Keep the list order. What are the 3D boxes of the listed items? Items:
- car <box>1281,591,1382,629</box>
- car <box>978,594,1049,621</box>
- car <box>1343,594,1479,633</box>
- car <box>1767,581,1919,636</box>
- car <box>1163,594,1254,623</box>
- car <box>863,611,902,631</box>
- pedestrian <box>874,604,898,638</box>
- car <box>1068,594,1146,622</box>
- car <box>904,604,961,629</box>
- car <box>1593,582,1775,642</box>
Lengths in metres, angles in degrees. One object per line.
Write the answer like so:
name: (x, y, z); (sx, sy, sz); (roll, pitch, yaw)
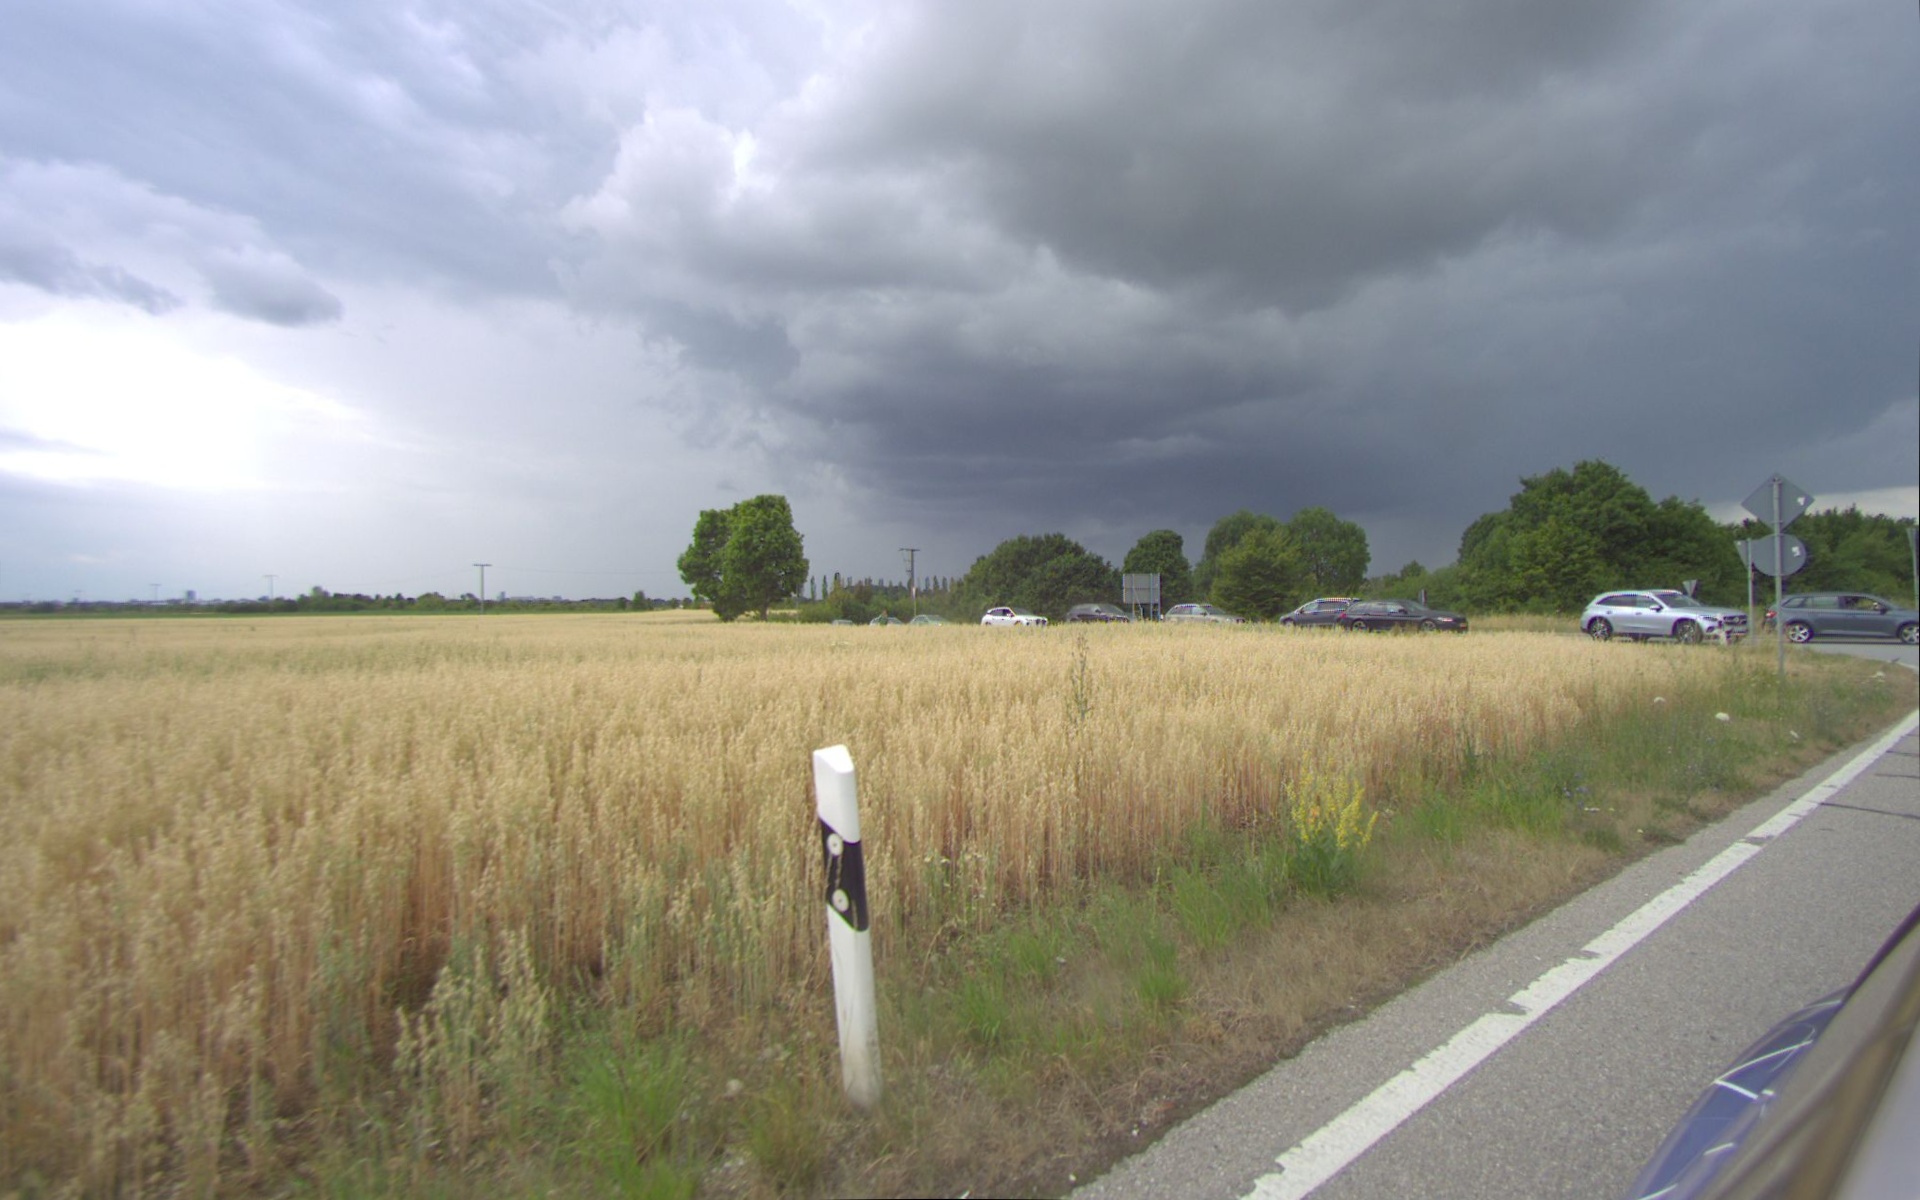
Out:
car: (17.852, 0.436, 48.813); (1.723, 1.679, 4.284); (0, 1, -40)
car: (3.145, 0.439, 60.343); (1.690, 1.513, 4.637); (-3, 1, -35)
car: (17.737, 0.513, 40.015); (1.689, 1.370, 4.696); (-3, 1, -33)
car: (25.914, 0.240, 29.105); (4.103, 1.465, 1.692); (-1, 1, 44)
car: (11.968, 0.402, 48.910); (1.690, 1.370, 4.213); (0, 0, -35)
car: (-5.683, 1.527, 73.868); (1.542, 1.363, 3.503); (0, 1, -28)
pedestrian: (-3.640, 1.022, 49.730); (0.939, 1.632, 0.763); (-1, -1, 37)
car: (7.834, 0.404, 54.317); (1.690, 1.370, 4.213); (-3, 1, -35)
car: (-1.892, 1.062, 67.177); (1.690, 1.513, 4.213); (-3, 1, -35)
car: (21.929, 0.316, 30.927); (1.957, 1.606, 4.401); (-2, 1, -9)
